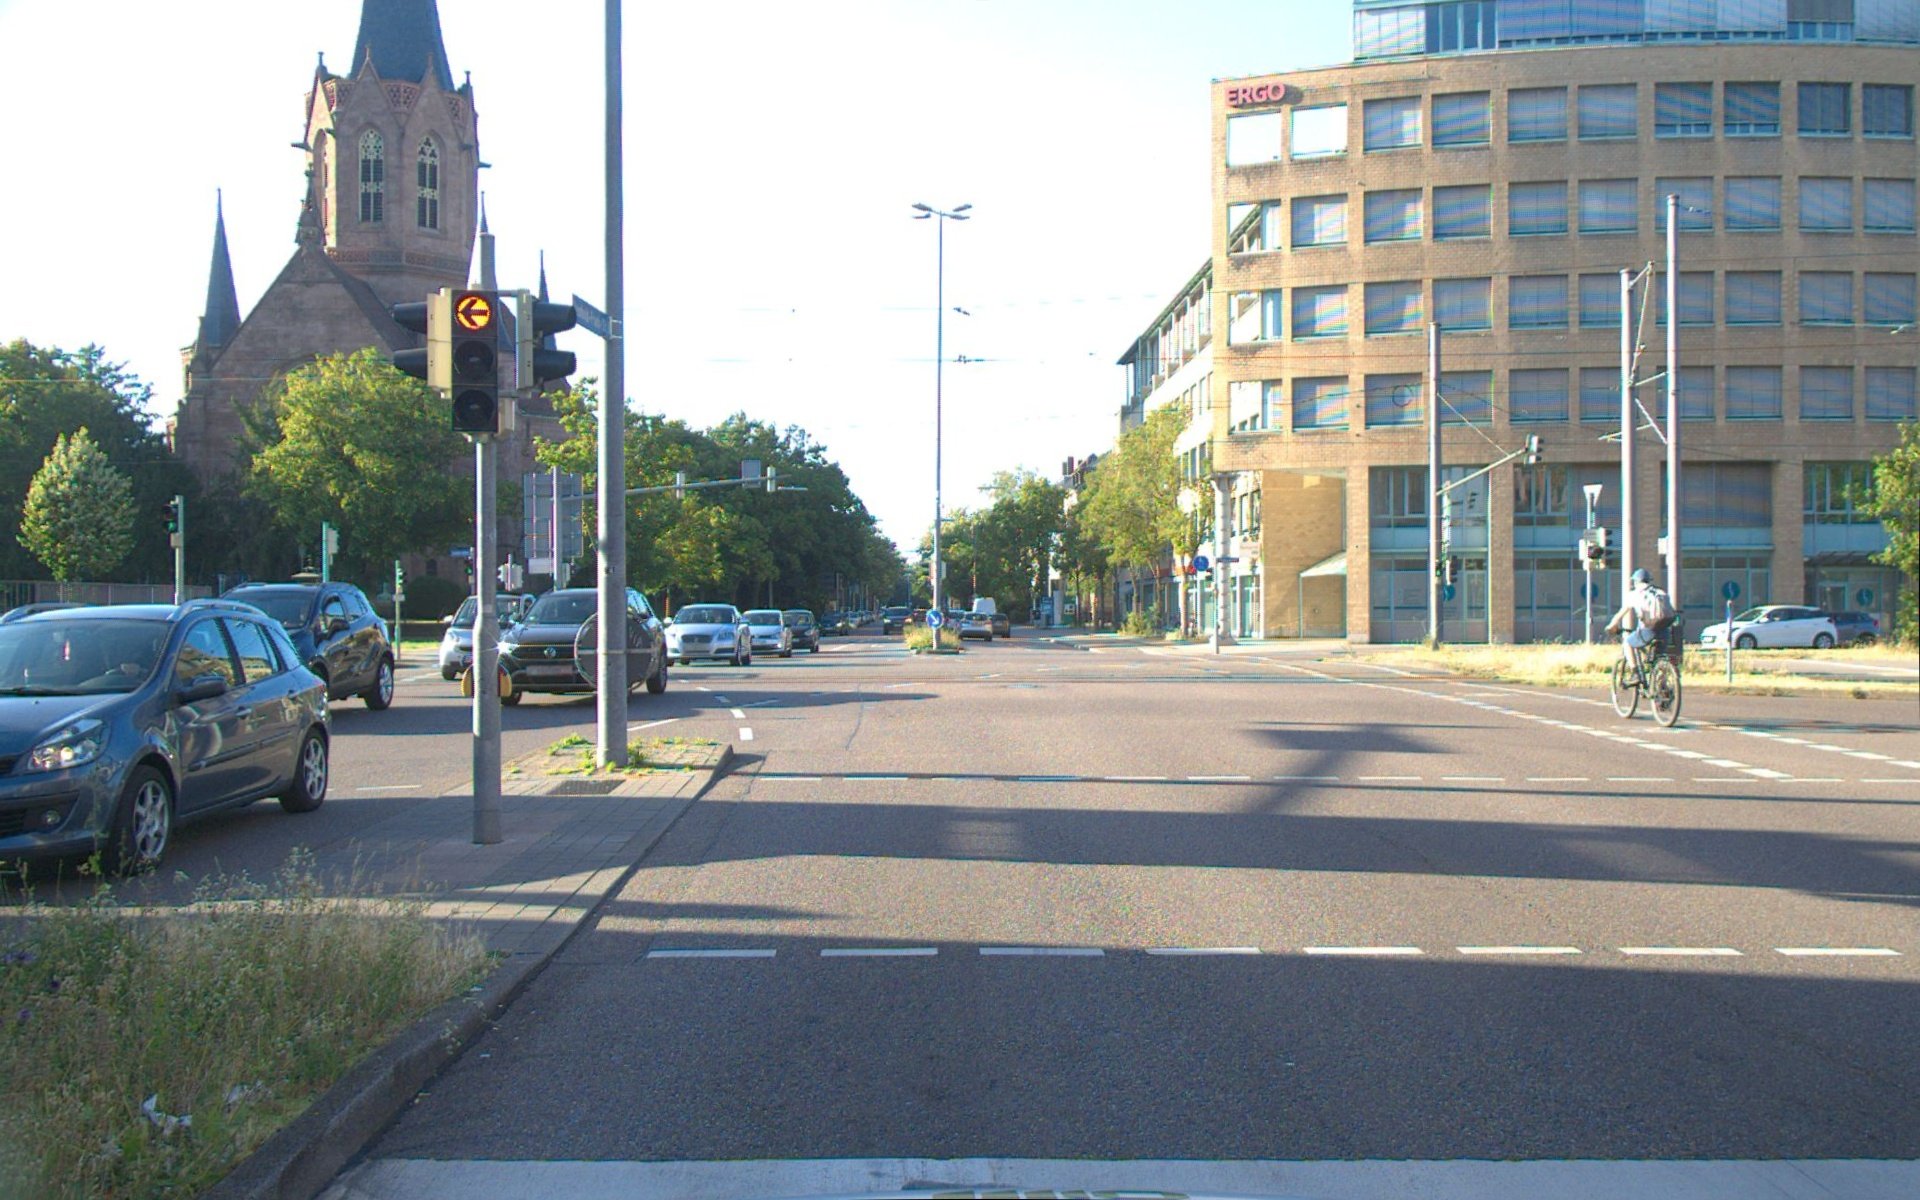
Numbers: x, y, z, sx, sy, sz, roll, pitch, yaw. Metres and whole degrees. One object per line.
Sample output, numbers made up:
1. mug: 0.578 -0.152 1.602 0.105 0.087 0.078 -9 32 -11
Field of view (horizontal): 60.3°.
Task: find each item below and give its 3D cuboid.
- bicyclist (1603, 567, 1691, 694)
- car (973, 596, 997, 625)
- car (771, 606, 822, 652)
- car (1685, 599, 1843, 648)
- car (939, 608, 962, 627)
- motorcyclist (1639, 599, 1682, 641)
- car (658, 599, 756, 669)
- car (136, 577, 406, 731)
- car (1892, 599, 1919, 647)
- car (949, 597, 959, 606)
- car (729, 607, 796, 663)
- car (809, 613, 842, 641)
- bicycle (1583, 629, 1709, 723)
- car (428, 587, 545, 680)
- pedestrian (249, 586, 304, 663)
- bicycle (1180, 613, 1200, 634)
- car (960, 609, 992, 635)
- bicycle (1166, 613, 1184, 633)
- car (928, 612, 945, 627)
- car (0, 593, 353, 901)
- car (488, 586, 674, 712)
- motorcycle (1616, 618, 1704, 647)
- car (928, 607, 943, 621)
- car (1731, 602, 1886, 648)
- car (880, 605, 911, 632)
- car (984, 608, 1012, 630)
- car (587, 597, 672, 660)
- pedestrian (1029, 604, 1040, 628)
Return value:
1. bicyclist: 7.798 0.334 18.803 0.580 1.393 0.929 1 0 -1
2. car: 2.212 0.896 145.256 1.953 2.483 3.999 1 0 -1
3. car: -6.017 1.040 60.996 1.546 1.571 3.476 -2 0 -1
4. car: 25.545 0.738 52.629 4.080 1.518 1.994 0 -1 -3
5. car: -0.666 1.192 115.523 1.562 1.289 3.266 0 0 -1
6. motorcyclist: 24.393 0.689 57.638 1.044 1.460 1.031 0 -1 -2
7. car: -5.821 0.742 38.438 1.674 1.450 4.101 -2 0 -1
8. car: -8.316 0.581 20.369 1.685 1.657 4.100 -2 0 -2
9. car: 32.305 0.709 52.898 3.970 1.518 1.819 0 -1 -2
10. car: -0.949 0.199 256.032 1.562 1.289 3.266 0 0 -1
11. car: -6.071 1.057 51.103 1.641 1.571 3.805 -2 0 -1
12. car: -8.821 1.775 108.743 1.953 1.754 4.591 -1 -1 -2
13. bicycle: 7.793 0.840 18.887 0.580 0.959 1.978 1 0 -1
14. car: -8.887 0.592 31.196 1.505 1.620 2.806 -2 0 -4
15. pedestrian: -15.743 0.563 38.128 0.946 1.770 0.811 0 -1 -3
16. bicycle: 11.236 1.141 80.949 0.633 1.012 2.080 0 0 -2
17. car: 0.817 1.111 85.629 1.562 1.289 3.266 0 0 -1
18. bicycle: 11.118 1.163 85.600 0.633 1.012 2.080 0 0 -2
19. car: -2.176 1.815 152.439 1.562 1.289 3.266 0 0 -1
20. car: -5.179 0.727 10.112 1.560 1.497 3.984 -1 0 -2
21. car: -5.268 0.618 23.493 1.641 1.571 4.102 -2 0 0
22. motorcycle: 24.381 1.126 57.632 2.663 0.981 1.031 0 -1 -2
23. car: -2.443 1.374 164.875 1.562 1.289 3.266 0 0 -1
24. car: 29.630 0.874 57.826 4.390 1.564 1.986 0 -1 -1
25. car: -4.292 1.260 110.540 1.953 1.754 5.029 -1 -1 -2
26. car: 2.346 1.174 102.435 1.562 1.289 3.266 0 0 -1
27. car: -9.038 0.748 45.502 1.641 1.571 3.637 -2 0 -1
28. pedestrian: 5.905 1.274 131.207 0.830 1.835 0.775 0 0 -1
